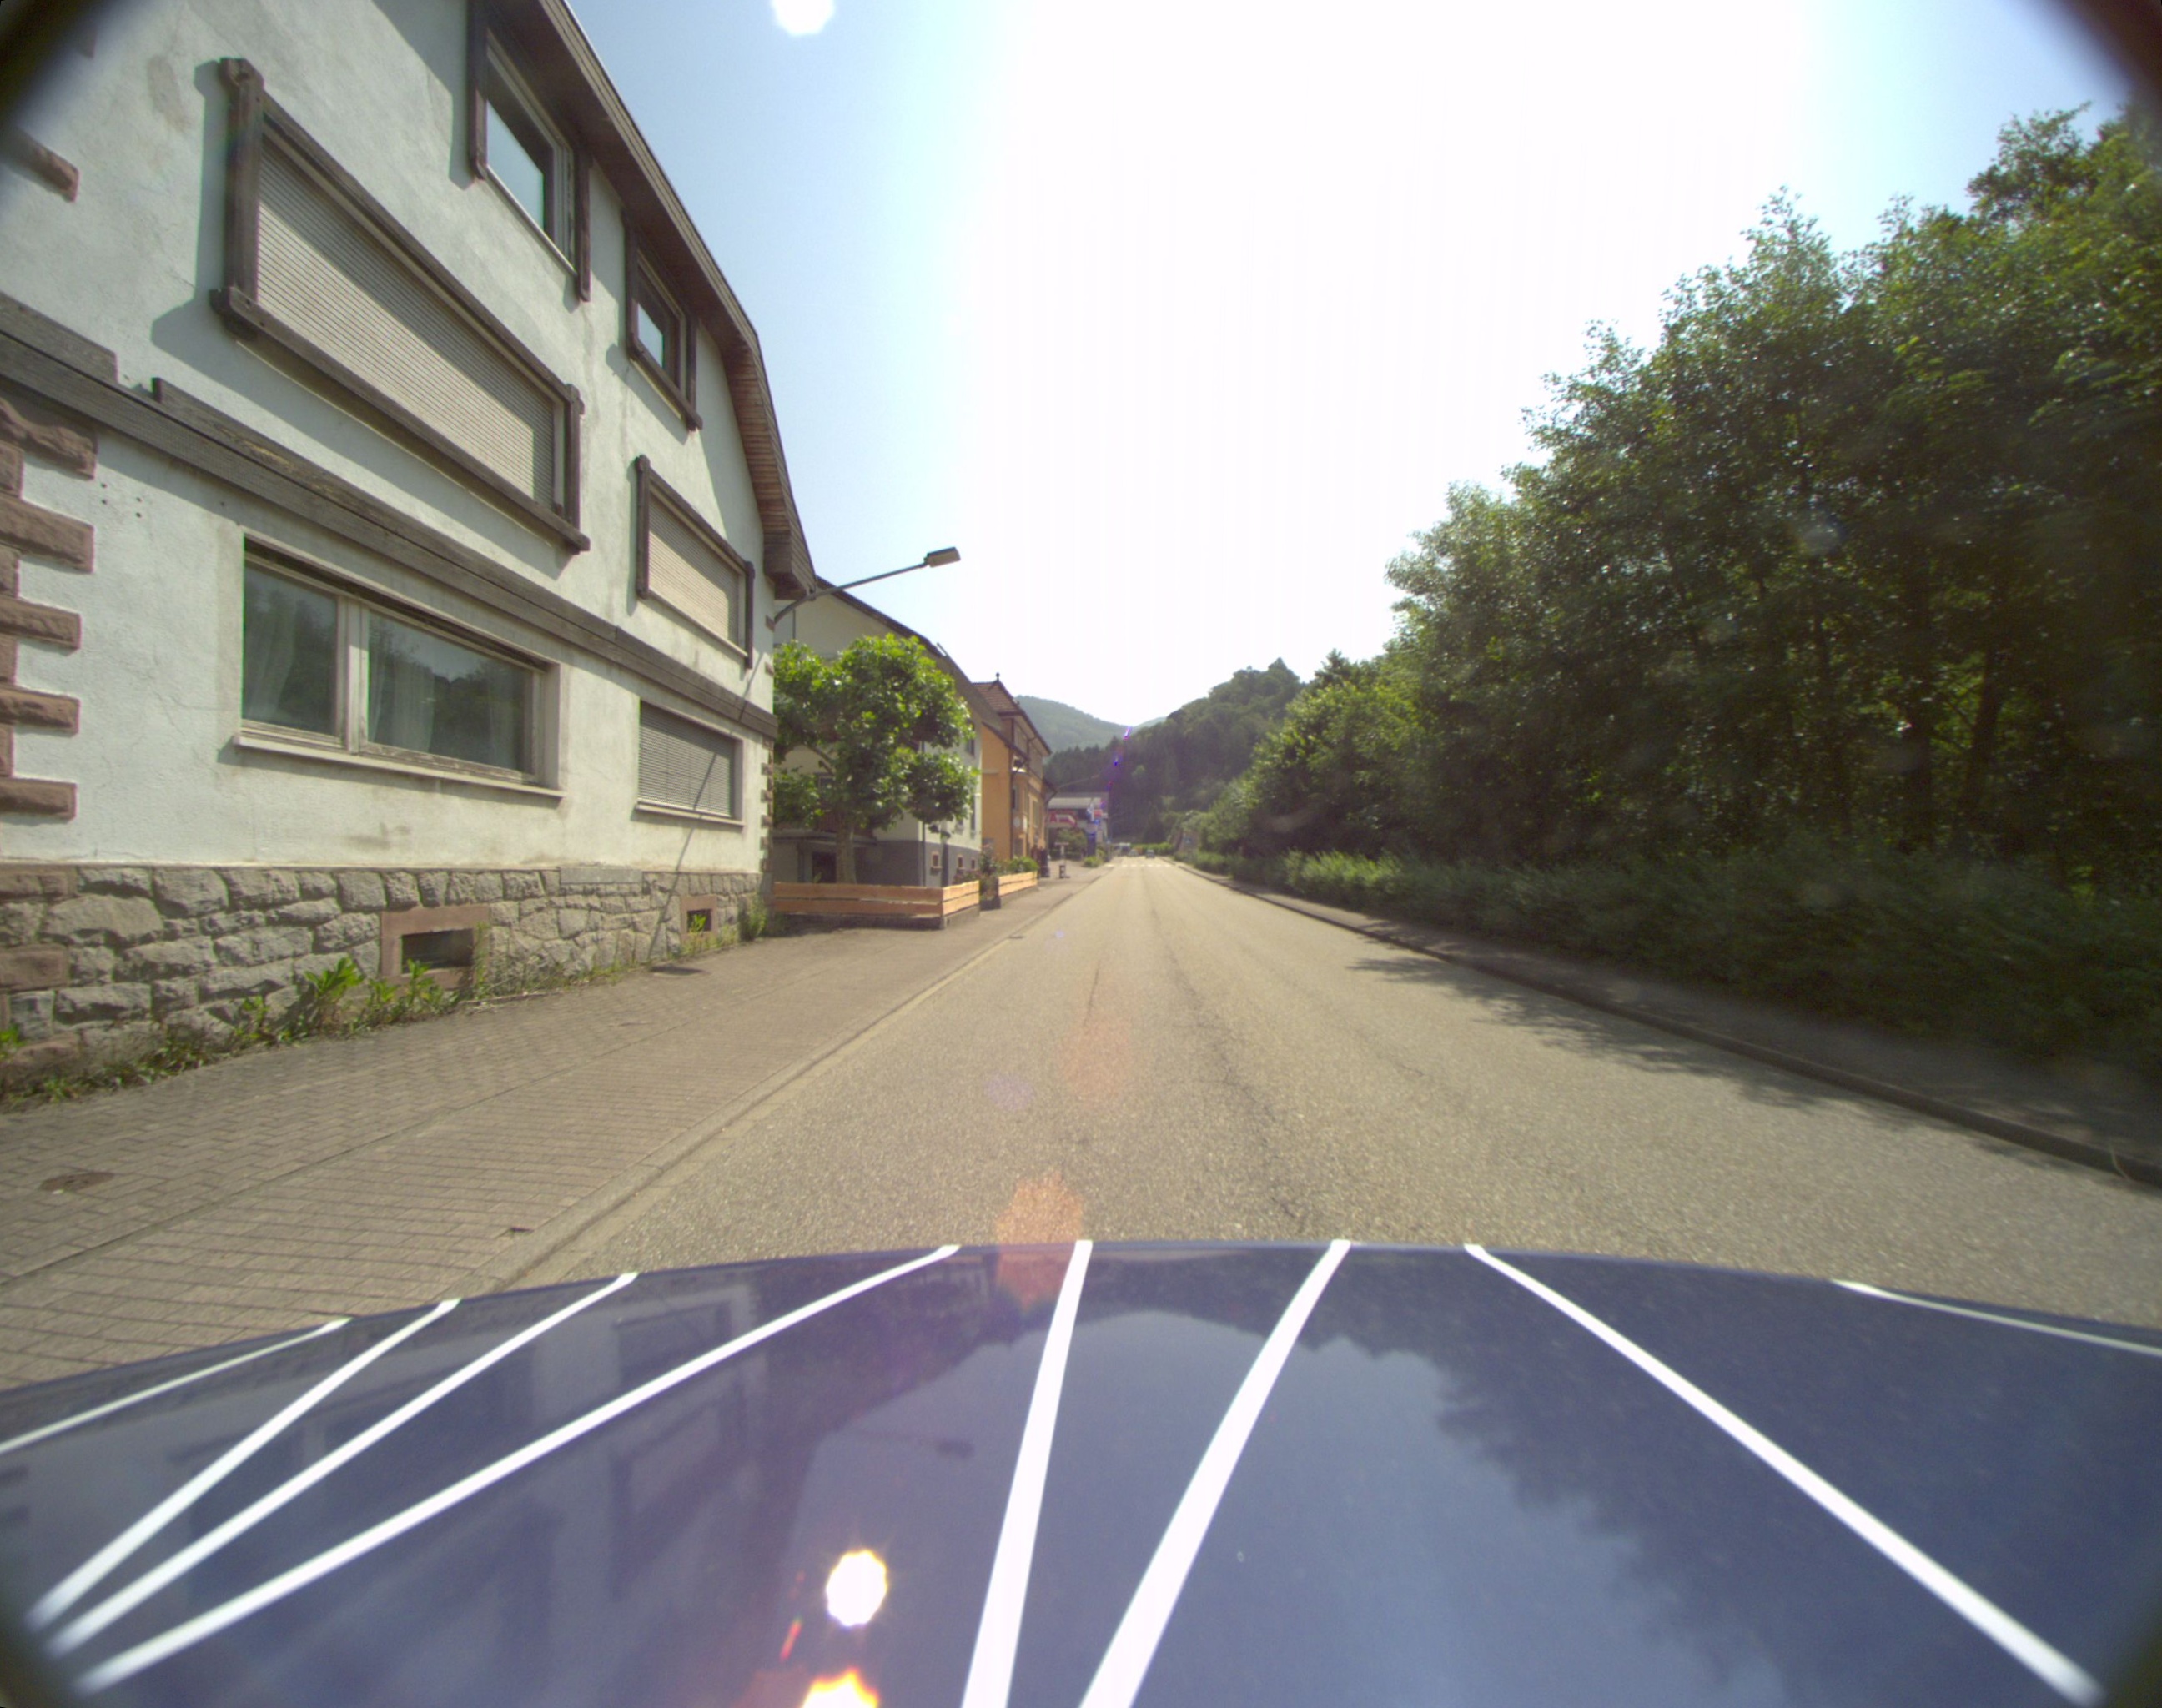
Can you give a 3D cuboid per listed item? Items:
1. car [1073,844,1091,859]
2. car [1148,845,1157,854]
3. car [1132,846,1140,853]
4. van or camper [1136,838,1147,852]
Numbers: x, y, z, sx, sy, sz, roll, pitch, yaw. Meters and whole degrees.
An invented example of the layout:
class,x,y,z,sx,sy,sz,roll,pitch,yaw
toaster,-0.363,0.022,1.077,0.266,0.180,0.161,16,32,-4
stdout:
class,x,y,z,sx,sy,sz,roll,pitch,yaw
car,0.148,-0.357,88.225,1.695,1.568,3.912,4,2,5
car,13.188,-0.819,139.616,1.593,1.474,3.758,1,1,6
car,11.508,-0.948,158.851,1.608,1.398,3.827,2,1,4
van or camper,13.650,-2.021,171.711,2.363,2.936,8.053,1,0,5
